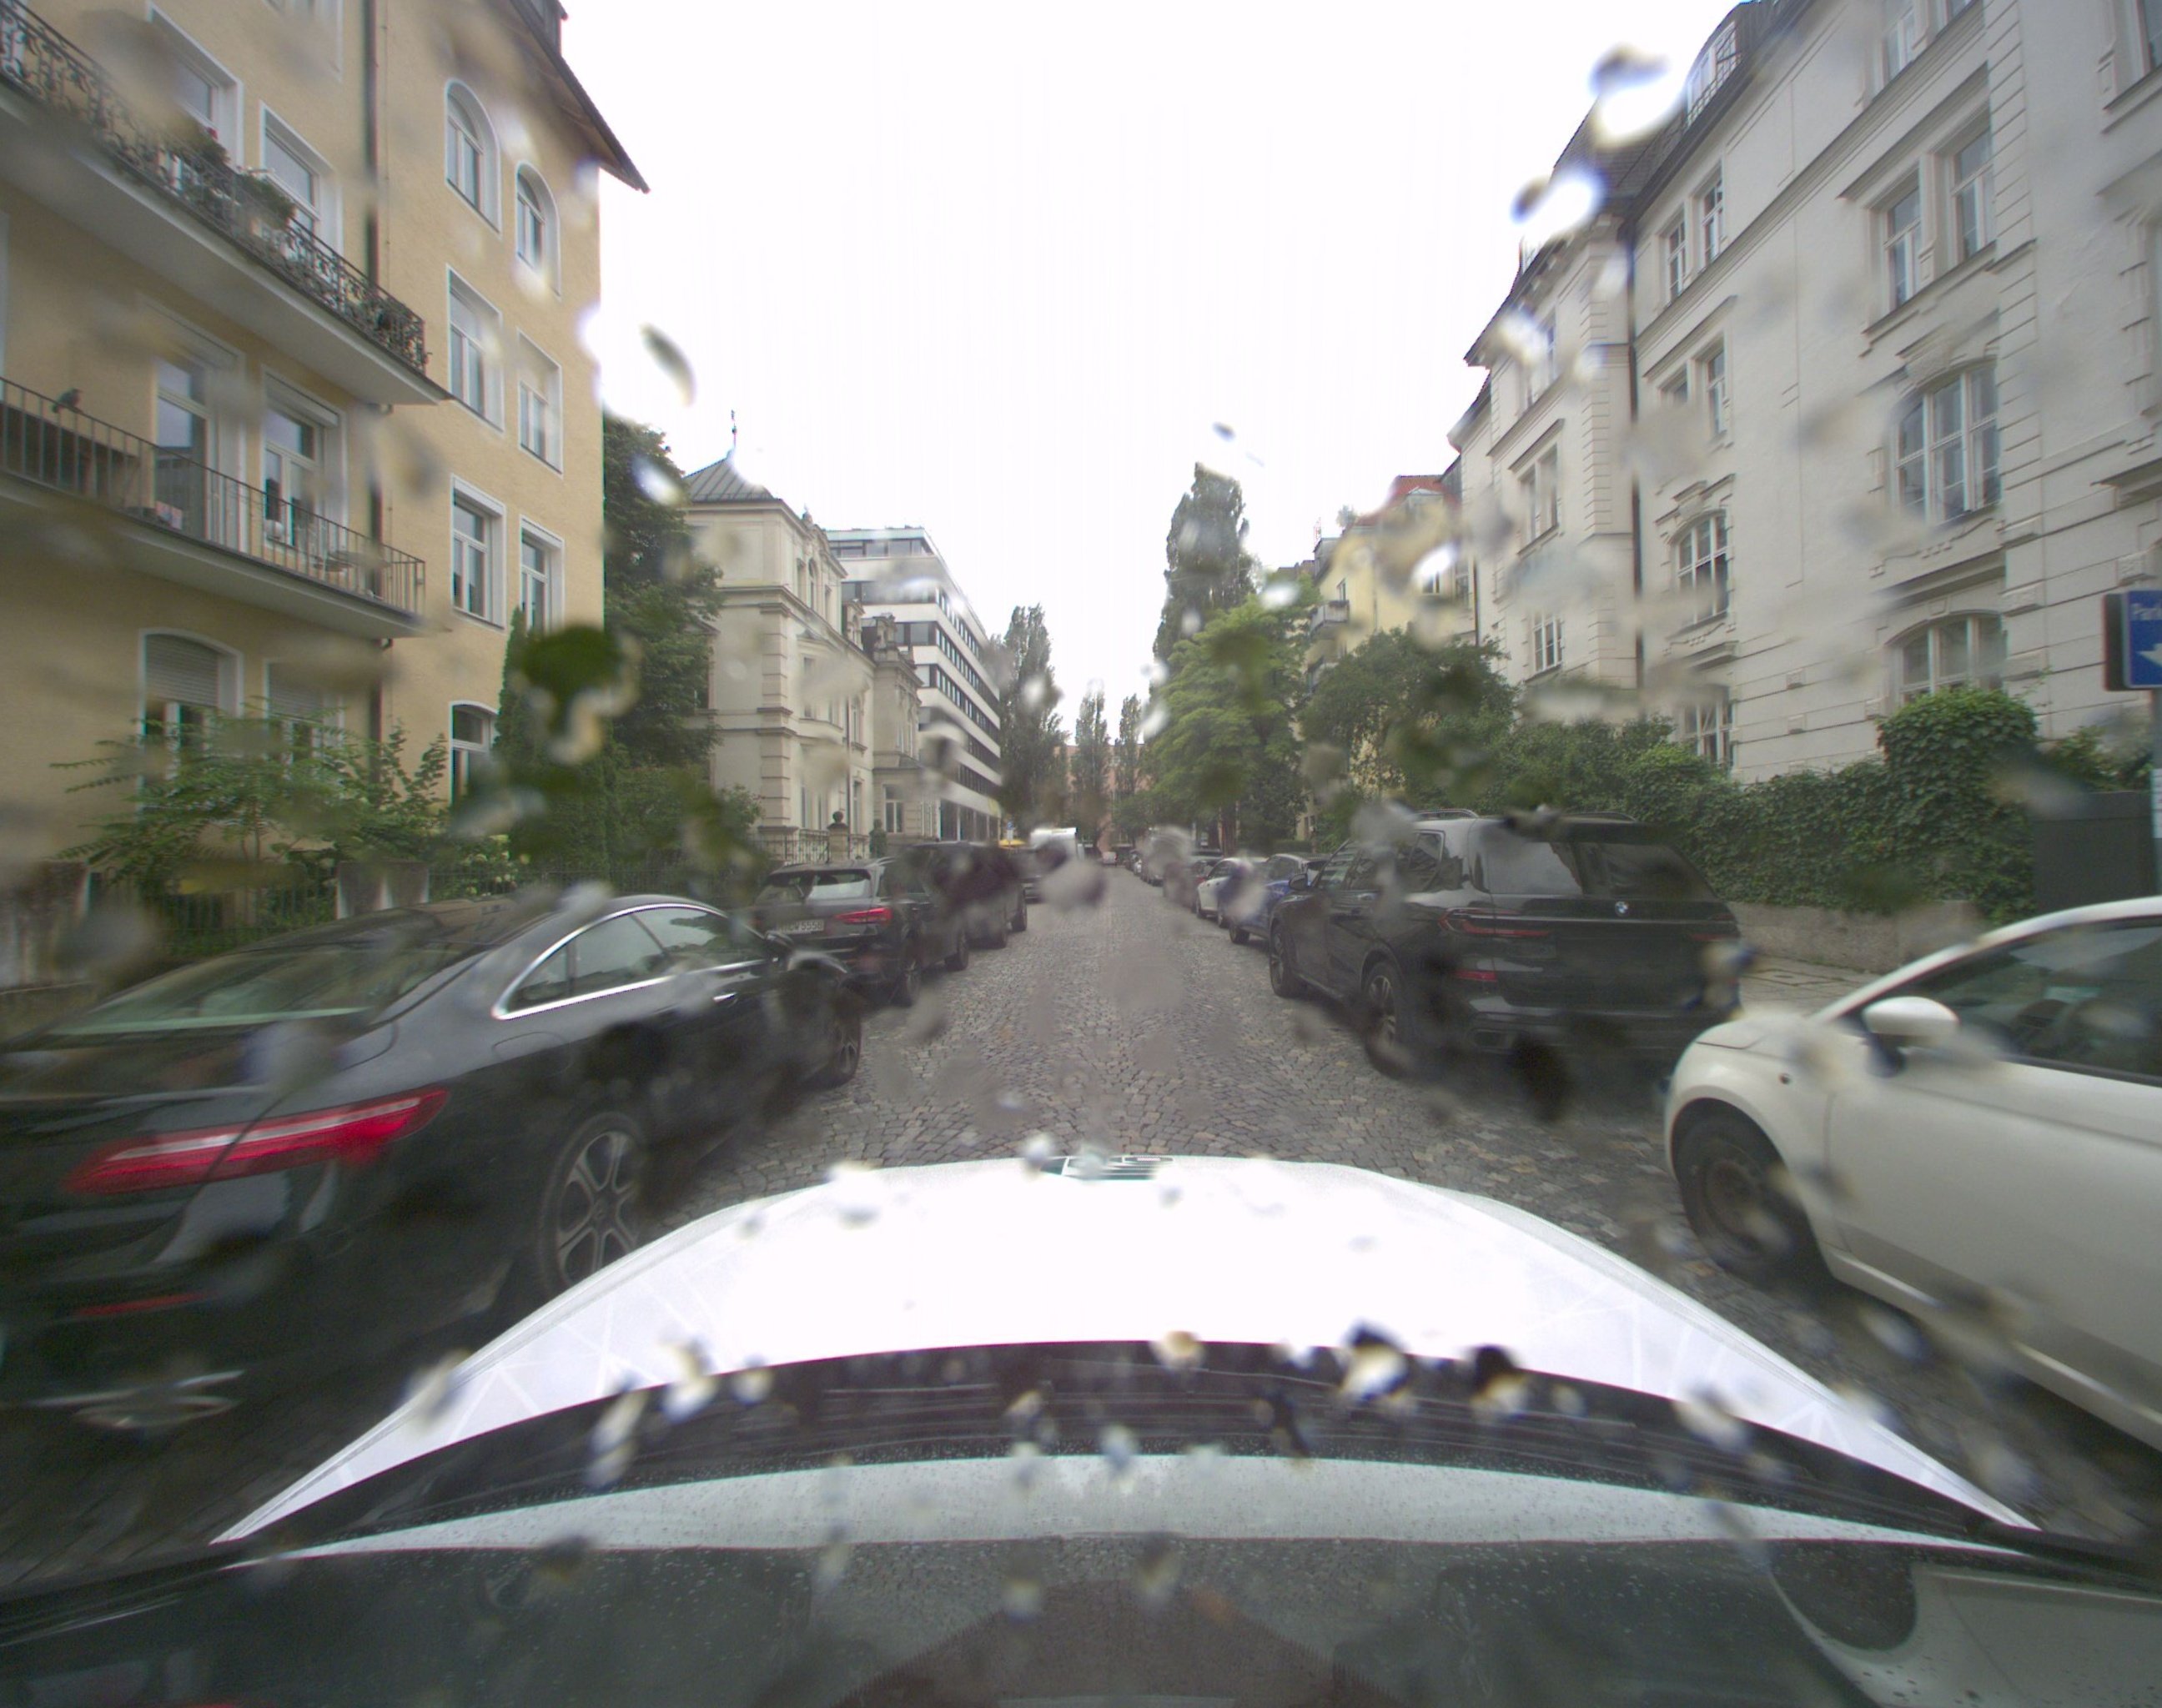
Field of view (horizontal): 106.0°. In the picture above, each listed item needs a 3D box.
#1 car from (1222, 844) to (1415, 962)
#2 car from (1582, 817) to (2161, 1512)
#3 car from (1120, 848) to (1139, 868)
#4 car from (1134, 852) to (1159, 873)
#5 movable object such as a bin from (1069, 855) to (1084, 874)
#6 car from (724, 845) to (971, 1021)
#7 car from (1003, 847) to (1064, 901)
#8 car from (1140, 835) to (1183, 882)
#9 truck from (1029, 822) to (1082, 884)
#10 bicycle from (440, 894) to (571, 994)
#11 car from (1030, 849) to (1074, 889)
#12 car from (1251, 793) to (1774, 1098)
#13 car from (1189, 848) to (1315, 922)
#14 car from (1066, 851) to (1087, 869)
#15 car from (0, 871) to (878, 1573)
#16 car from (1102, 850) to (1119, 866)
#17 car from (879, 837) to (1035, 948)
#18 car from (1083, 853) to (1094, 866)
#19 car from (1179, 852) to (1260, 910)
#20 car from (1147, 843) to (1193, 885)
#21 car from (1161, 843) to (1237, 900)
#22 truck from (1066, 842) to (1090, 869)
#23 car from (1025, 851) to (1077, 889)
[{"bbox_3d":[3.431,0.645,12.595,1.704,1.482,4.248,1,-1,-1],"label":"car"},{"bbox_3d":[3.116,0.674,1.987,1.624,1.469,3.660,1,-1,2],"label":"car"},{"bbox_3d":[5.071,0.404,85.379,1.860,1.961,4.003,-1,-1,3],"label":"car"},{"bbox_3d":[4.690,0.613,58.832,1.594,1.486,3.480,-1,-1,1],"label":"car"},{"bbox_3d":[-0.318,0.767,58.783,1.060,1.363,1.290,-1,-1,2],"label":"movable object such as a bin"},{"bbox_3d":[-2.496,0.772,9.755,1.573,1.590,4.058,-3,-1,2],"label":"car"},{"bbox_3d":[-1.594,0.655,28.530,1.767,1.718,4.391,-1,-1,1],"label":"car"},{"bbox_3d":[4.509,0.218,46.196,1.888,2.426,5.612,3,0,1],"label":"car"},{"bbox_3d":[-1.307,-0.073,45.131,2.500,3.031,6.385,-3,0,1],"label":"truck"},{"bbox_3d":[-6.685,1.011,9.551,0.350,1.003,1.574,-1,-1,3],"label":"bicycle"},{"bbox_3d":[-1.348,0.665,38.965,1.888,1.751,4.167,-2,0,0],"label":"car"},{"bbox_3d":[2.968,0.535,7.276,1.868,1.673,5.492,-1,-1,1],"label":"car"},{"bbox_3d":[3.665,0.638,18.215,1.769,1.429,4.388,-1,-1,-2],"label":"car"},{"bbox_3d":[-0.357,0.496,69.777,1.655,1.455,3.549,0,-1,2],"label":"car"},{"bbox_3d":[-2.489,0.835,3.939,1.767,1.429,4.393,-1,-1,2],"label":"car"},{"bbox_3d":[3.691,0.500,102.216,1.988,1.936,4.003,-1,-1,3],"label":"car"},{"bbox_3d":[-2.123,0.606,15.350,1.974,1.737,4.726,-1,0,3],"label":"car"},{"bbox_3d":[0.984,0.716,99.870,1.272,1.541,3.120,-1,-1,2],"label":"car"},{"bbox_3d":[3.792,0.705,22.889,1.677,1.453,3.967,1,-1,1],"label":"car"},{"bbox_3d":[4.378,0.493,40.638,1.794,1.949,4.861,2,0,1],"label":"car"},{"bbox_3d":[3.894,0.568,27.751,1.956,1.759,4.955,-1,-1,1],"label":"car"},{"bbox_3d":[-0.268,0.161,73.853,1.986,2.347,4.069,-1,-1,2],"label":"truck"},{"bbox_3d":[-1.183,0.657,33.857,1.933,1.459,4.058,-1,-1,1],"label":"car"}]
